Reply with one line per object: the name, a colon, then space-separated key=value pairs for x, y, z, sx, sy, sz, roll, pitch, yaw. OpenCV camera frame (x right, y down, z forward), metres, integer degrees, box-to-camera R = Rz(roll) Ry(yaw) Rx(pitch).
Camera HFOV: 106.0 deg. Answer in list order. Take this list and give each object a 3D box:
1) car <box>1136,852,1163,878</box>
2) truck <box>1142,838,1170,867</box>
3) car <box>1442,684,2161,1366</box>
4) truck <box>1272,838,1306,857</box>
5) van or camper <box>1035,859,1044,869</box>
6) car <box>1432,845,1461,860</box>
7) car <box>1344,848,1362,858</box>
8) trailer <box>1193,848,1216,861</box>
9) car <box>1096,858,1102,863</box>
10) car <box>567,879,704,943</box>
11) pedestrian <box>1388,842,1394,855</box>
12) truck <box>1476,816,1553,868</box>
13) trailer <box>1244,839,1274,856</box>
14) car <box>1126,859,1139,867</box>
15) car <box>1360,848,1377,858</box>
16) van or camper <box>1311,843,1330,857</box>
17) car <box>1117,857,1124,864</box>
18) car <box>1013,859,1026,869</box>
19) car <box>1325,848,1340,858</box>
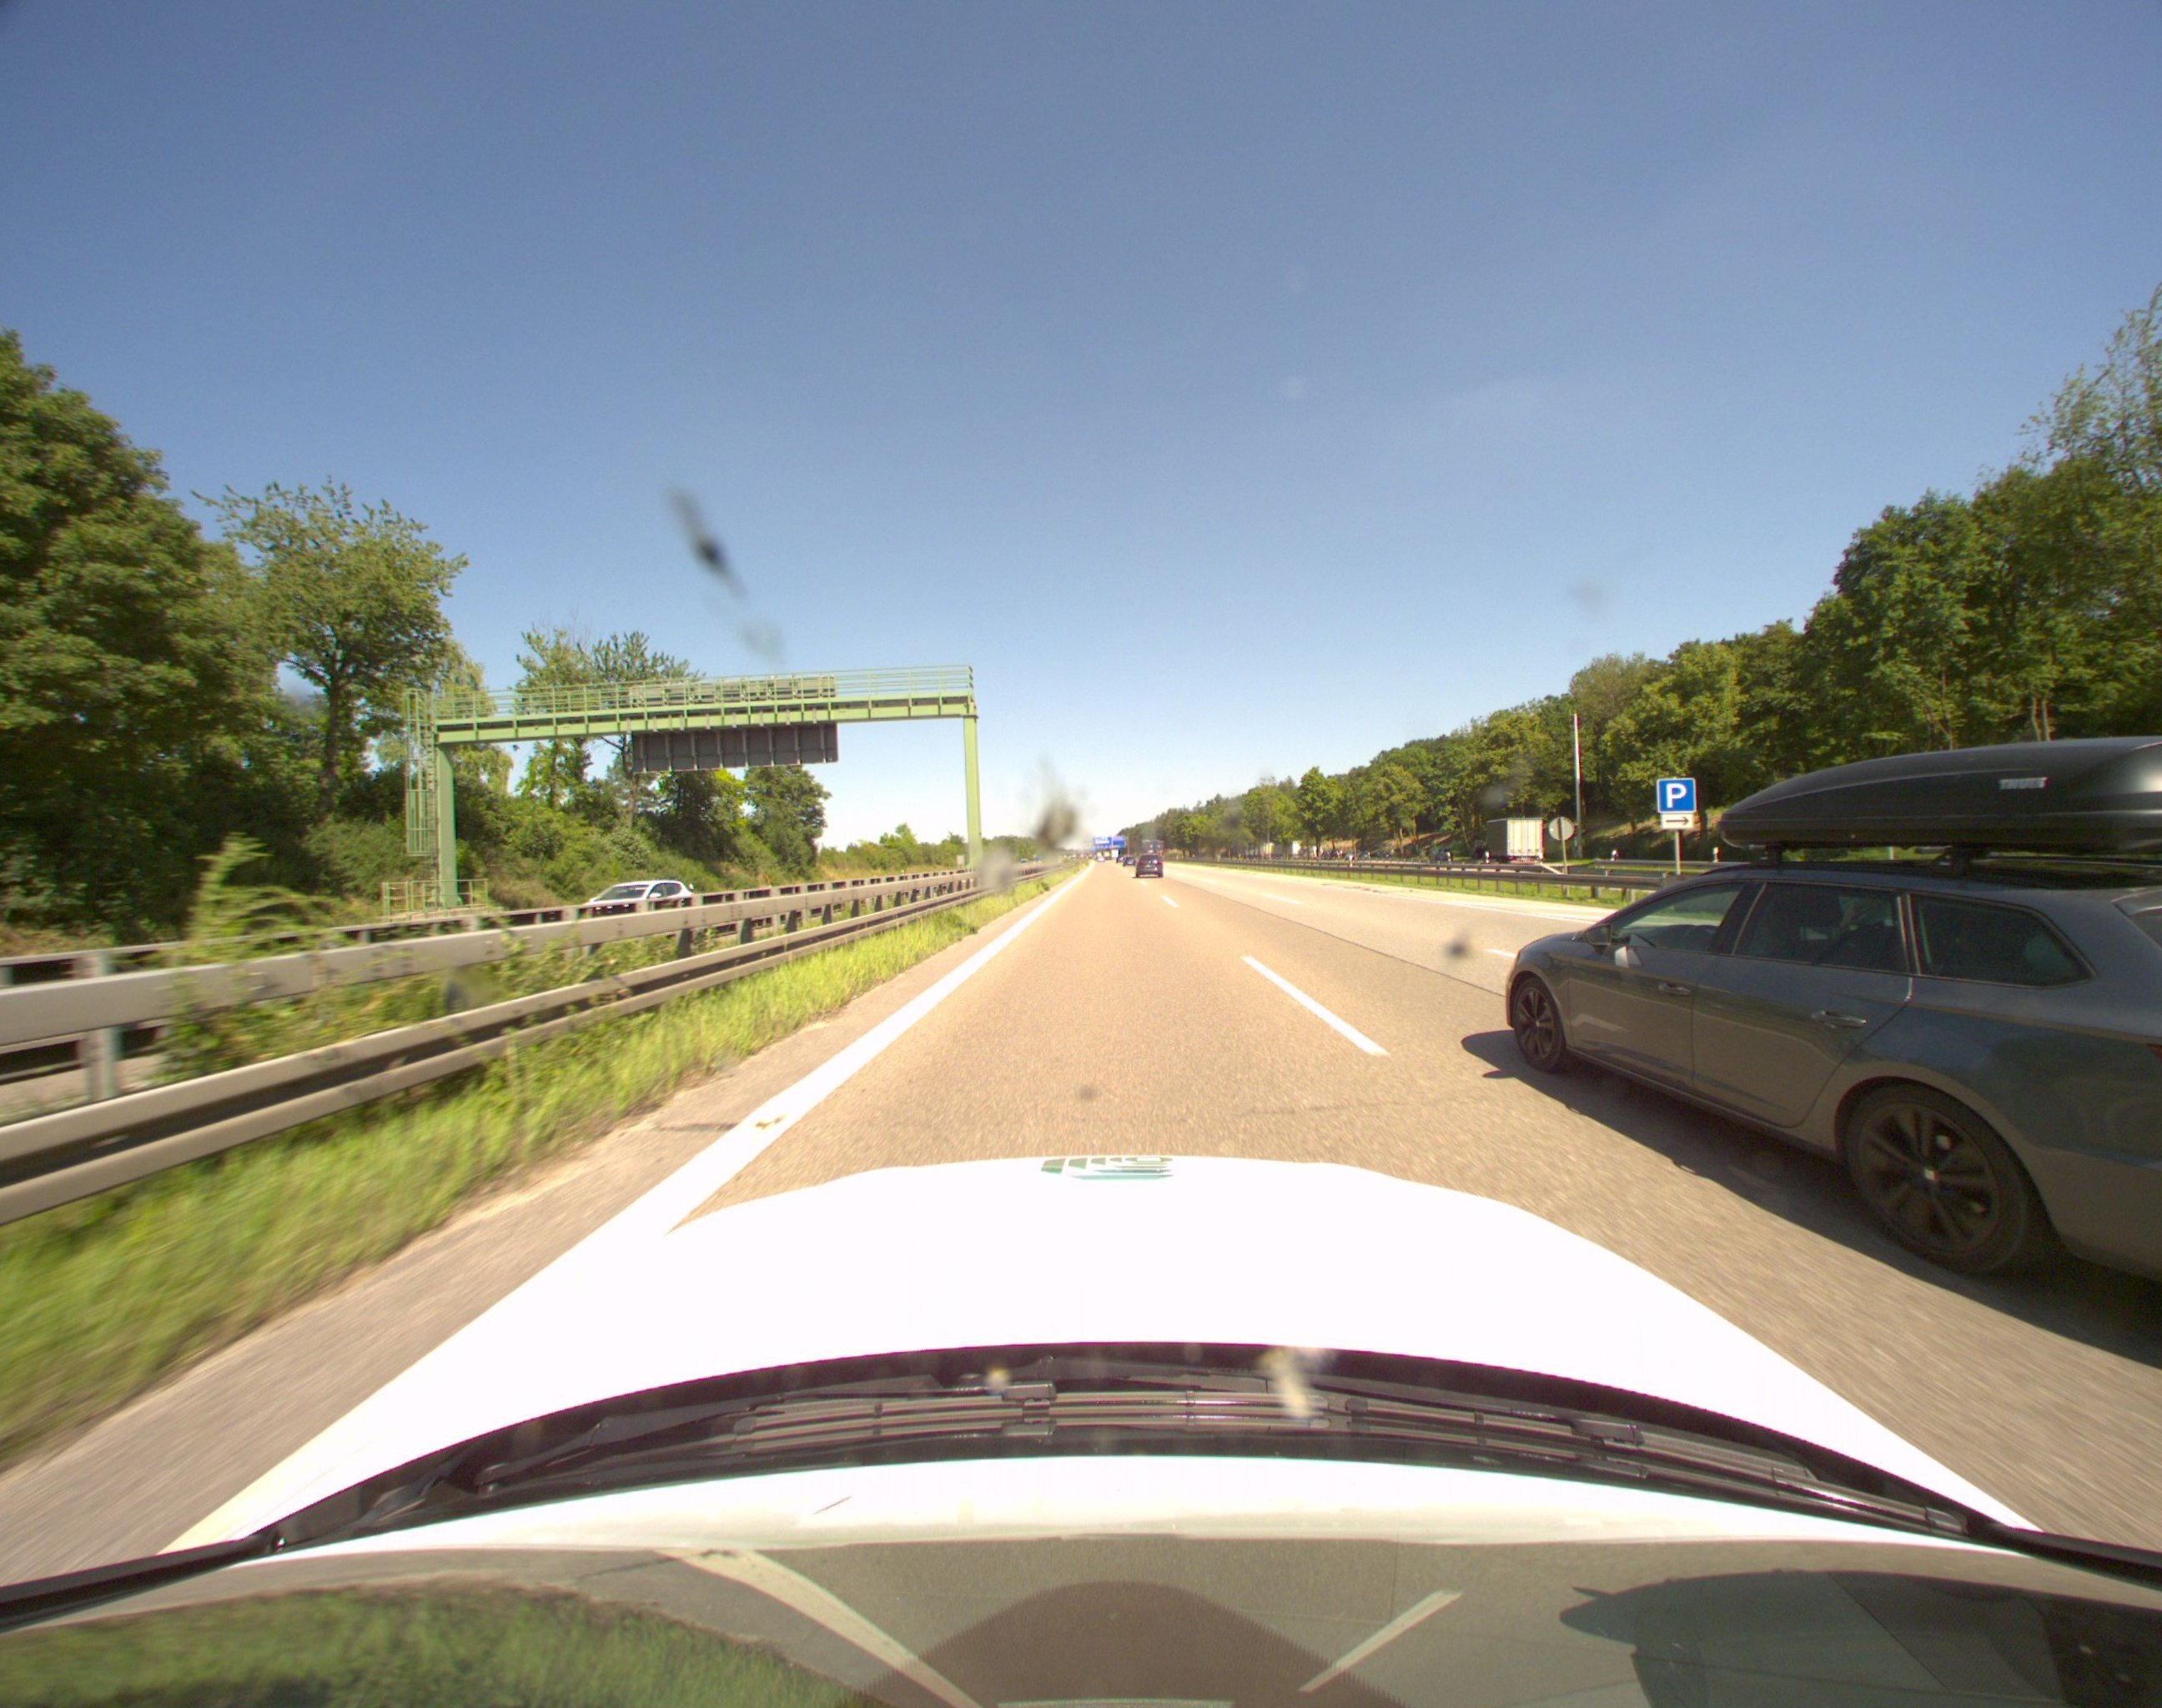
car: x=4.716 y=0.739 z=56.140 sx=1.791 sy=1.669 sz=4.263 roll=-1 pitch=0 yaw=4
truck: x=12.128 y=-0.179 z=133.119 sx=3.766 sy=4.422 sz=14.056 roll=-1 pitch=0 yaw=2
car: x=3.824 y=0.438 z=4.355 sx=1.659 sy=1.876 sz=4.828 roll=-3 pitch=0 yaw=1
truck: x=45.957 y=-1.409 z=180.676 sx=2.989 sy=3.931 sz=14.443 roll=-2 pitch=0 yaw=-3
van or camper: x=-11.334 y=2.739 z=224.268 sx=1.986 sy=2.392 sz=6.243 roll=-3 pitch=0 yaw=1
car: x=41.339 y=-0.178 z=92.234 sx=1.981 sy=1.651 sz=4.331 roll=-2 pitch=0 yaw=11
car: x=45.790 y=-0.182 z=137.120 sx=1.649 sy=1.676 sz=4.655 roll=-2 pitch=-1 yaw=3
trailer: x=37.118 y=0.210 z=246.166 sx=2.573 sy=3.915 sz=12.696 roll=-1 pitch=0 yaw=-12
car: x=4.531 y=1.683 z=209.511 sx=1.465 sy=1.227 sz=3.411 roll=-2 pitch=0 yaw=2
car: x=-12.536 y=1.552 z=23.205 sx=1.660 sy=1.464 sz=3.881 roll=-4 pitch=0 yaw=0
pedestrian: x=44.722 y=-0.765 z=117.452 sx=0.792 sy=1.782 sz=0.645 roll=-2 pitch=0 yaw=14
truck: x=36.275 y=-0.943 z=68.572 sx=3.263 sy=3.947 sz=9.383 roll=-2 pitch=0 yaw=13
trailer: x=43.907 y=-1.485 z=201.558 sx=2.854 sy=3.797 sz=14.160 roll=-1 pitch=0 yaw=-6
car: x=7.316 y=1.297 z=116.559 sx=1.702 sy=1.155 sz=3.690 roll=-2 pitch=0 yaw=2
car: x=46.033 y=-0.185 z=130.365 sx=1.981 sy=1.574 sz=4.011 roll=-2 pitch=0 yaw=10
van or camper: x=46.933 y=-0.725 z=159.649 sx=2.195 sy=2.531 sz=5.877 roll=-2 pitch=-1 yaw=2
car: x=8.447 y=1.351 z=175.435 sx=1.465 sy=1.398 sz=3.411 roll=1 pitch=0 yaw=2
car: x=-12.797 y=2.122 z=170.962 sx=1.986 sy=1.835 sz=5.336 roll=-4 pitch=0 yaw=2
car: x=45.368 y=-0.159 z=146.974 sx=1.648 sy=1.877 sz=4.808 roll=-2 pitch=-1 yaw=6
